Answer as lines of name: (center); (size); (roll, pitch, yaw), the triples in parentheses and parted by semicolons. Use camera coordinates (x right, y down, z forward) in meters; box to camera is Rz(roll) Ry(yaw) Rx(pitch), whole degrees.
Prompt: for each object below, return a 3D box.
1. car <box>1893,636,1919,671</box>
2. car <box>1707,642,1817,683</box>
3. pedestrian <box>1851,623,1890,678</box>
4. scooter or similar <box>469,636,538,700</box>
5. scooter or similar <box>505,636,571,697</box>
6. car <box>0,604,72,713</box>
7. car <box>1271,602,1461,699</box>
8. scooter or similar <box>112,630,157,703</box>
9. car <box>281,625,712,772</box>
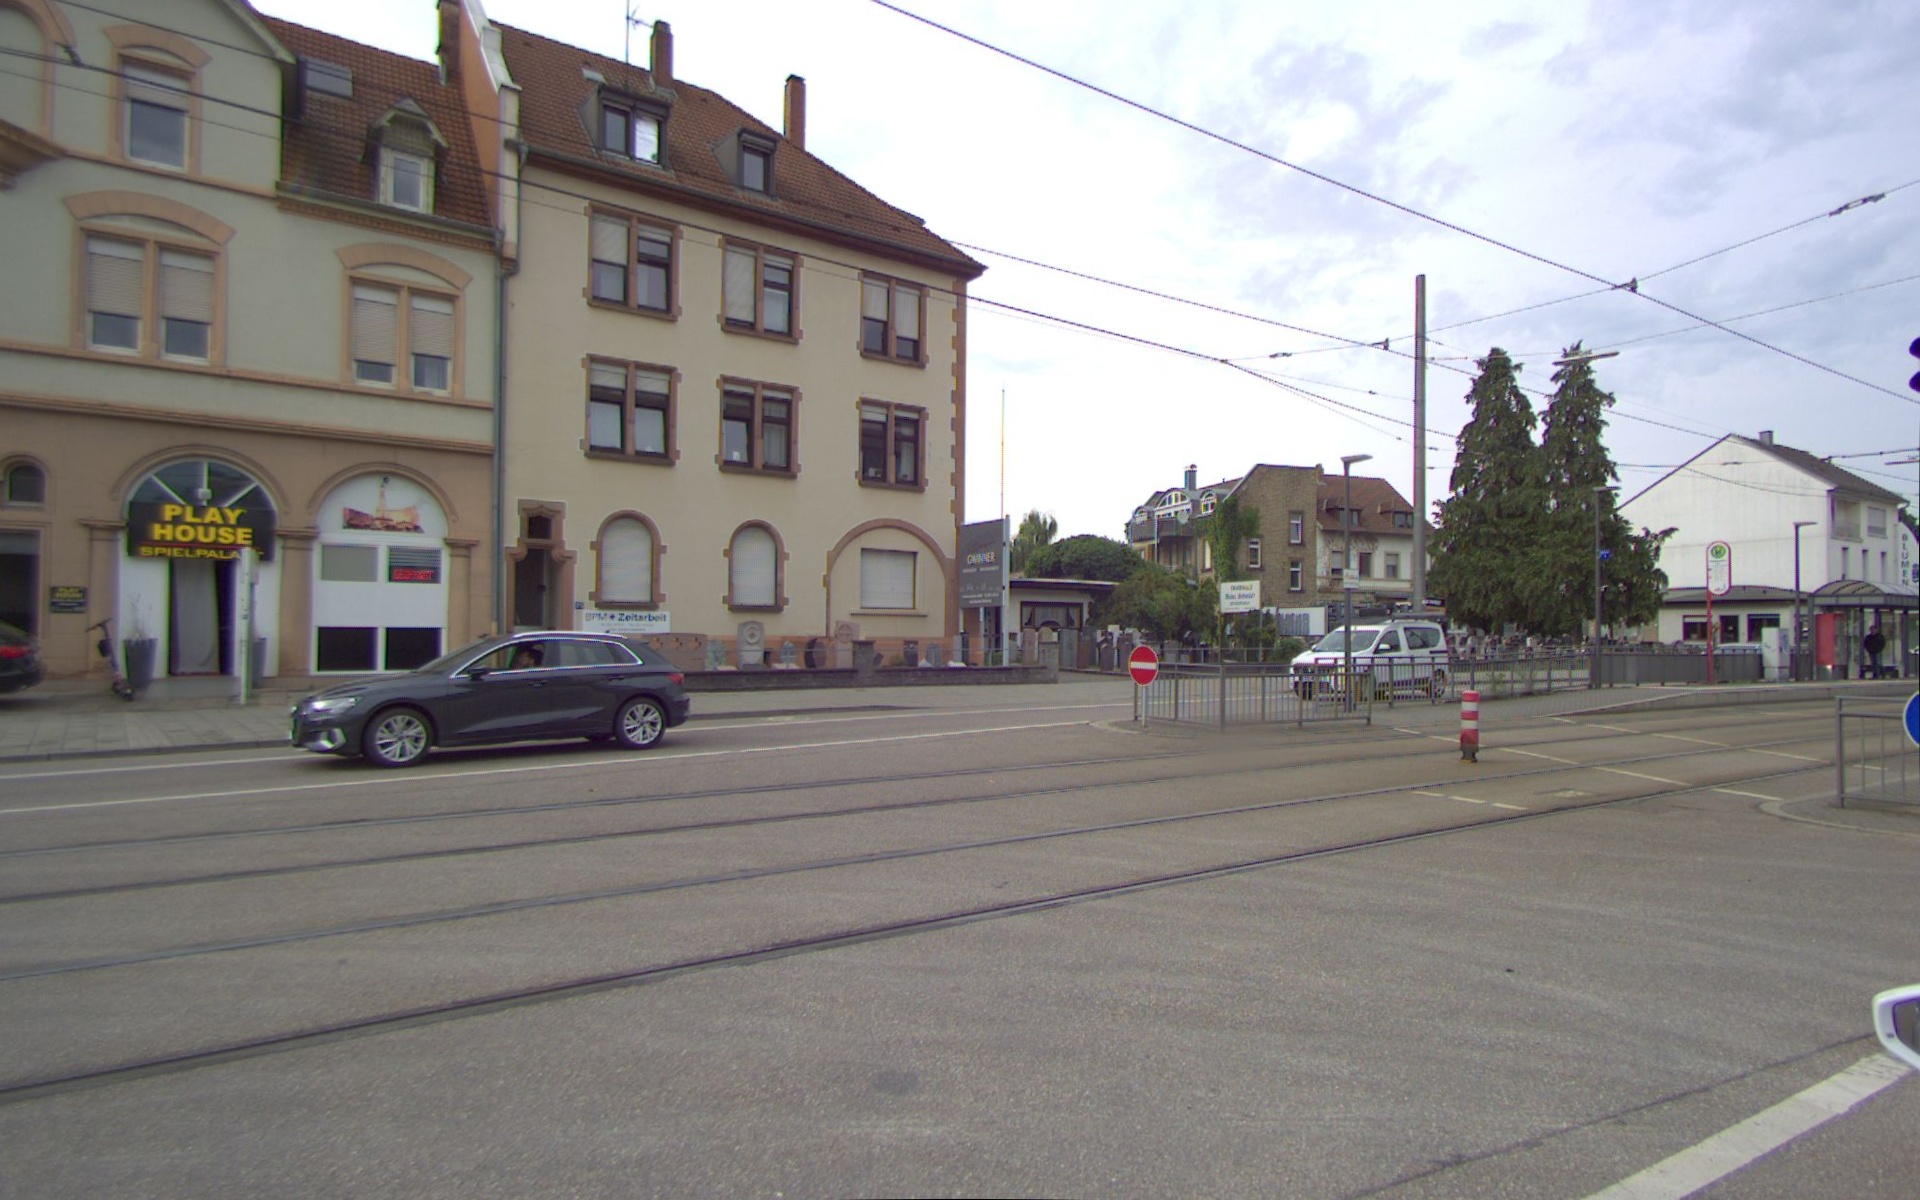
car: (43.362, 2.335, 44.542); (3.955, 1.505, 1.855); (1, -4, -32)
car: (27.428, 2.104, 34.345); (3.789, 1.316, 1.742); (2, -3, -31)
pedestrian: (28.489, 1.572, 31.434); (0.684, 1.686, 0.617); (1, -1, -5)
scooter or similar: (-8.448, 1.238, 18.577); (1.156, 1.116, 0.527); (1, -1, 26)
scooter or similar: (-8.112, 1.261, 19.309); (1.156, 1.116, 0.527); (1, -1, 26)
car: (-16.015, 0.795, 14.265); (4.855, 1.512, 1.980); (2, 1, -36)
car: (9.295, 1.141, 22.874); (4.479, 2.014, 1.873); (2, -3, -35)
scooter or similar: (-13.642, 1.082, 16.621); (0.523, 1.116, 1.165); (2, 1, -38)
car: (-5.414, 1.074, 12.031); (4.385, 1.447, 1.868); (2, -3, -38)
